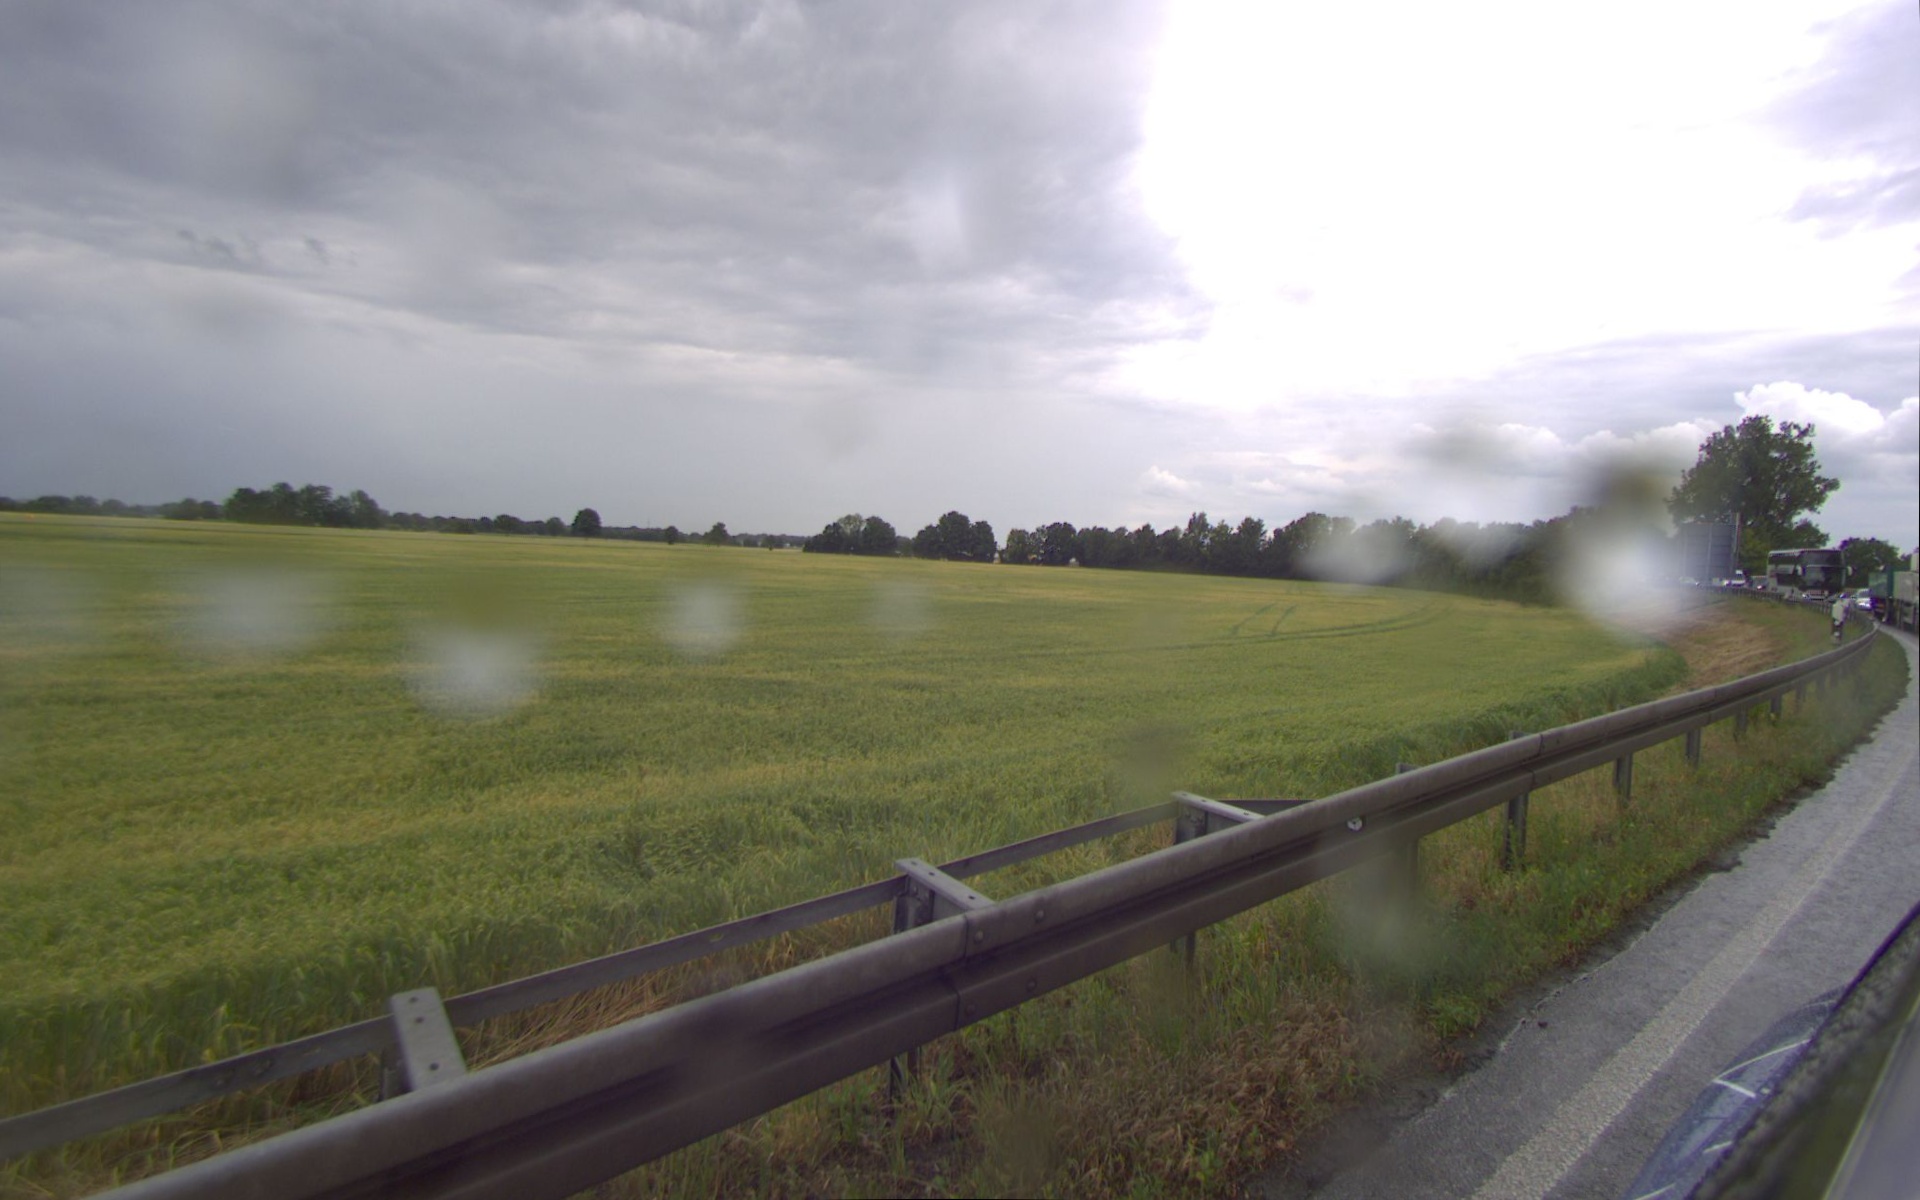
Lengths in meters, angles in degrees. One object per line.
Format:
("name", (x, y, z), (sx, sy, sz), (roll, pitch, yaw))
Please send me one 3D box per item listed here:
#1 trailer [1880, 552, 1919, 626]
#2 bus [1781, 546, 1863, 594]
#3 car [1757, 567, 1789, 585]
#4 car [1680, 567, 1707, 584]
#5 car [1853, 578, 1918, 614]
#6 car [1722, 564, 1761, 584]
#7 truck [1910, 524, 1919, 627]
("trailer", (40.629, -0.523, 41.732), (2.971, 2.666, 15.463), (0, 1, 39))
("bus", (65.324, -2.323, 77.041), (2.945, 3.353, 14.663), (0, 2, 33))
("car", (74.918, -2.207, 93.256), (1.801, 1.597, 3.956), (0, 1, 31))
("car", (92.396, -3.067, 127.526), (1.979, 2.039, 4.197), (0, 1, 25))
("car", (50.791, -0.279, 55.642), (2.031, 1.866, 5.268), (0, 1, 36))
("car", (83.018, -2.750, 107.597), (1.978, 2.039, 5.294), (0, 1, 24))
("truck", (35.358, -0.858, 35.135), (2.971, 3.655, 5.996), (0, 1, 39))
